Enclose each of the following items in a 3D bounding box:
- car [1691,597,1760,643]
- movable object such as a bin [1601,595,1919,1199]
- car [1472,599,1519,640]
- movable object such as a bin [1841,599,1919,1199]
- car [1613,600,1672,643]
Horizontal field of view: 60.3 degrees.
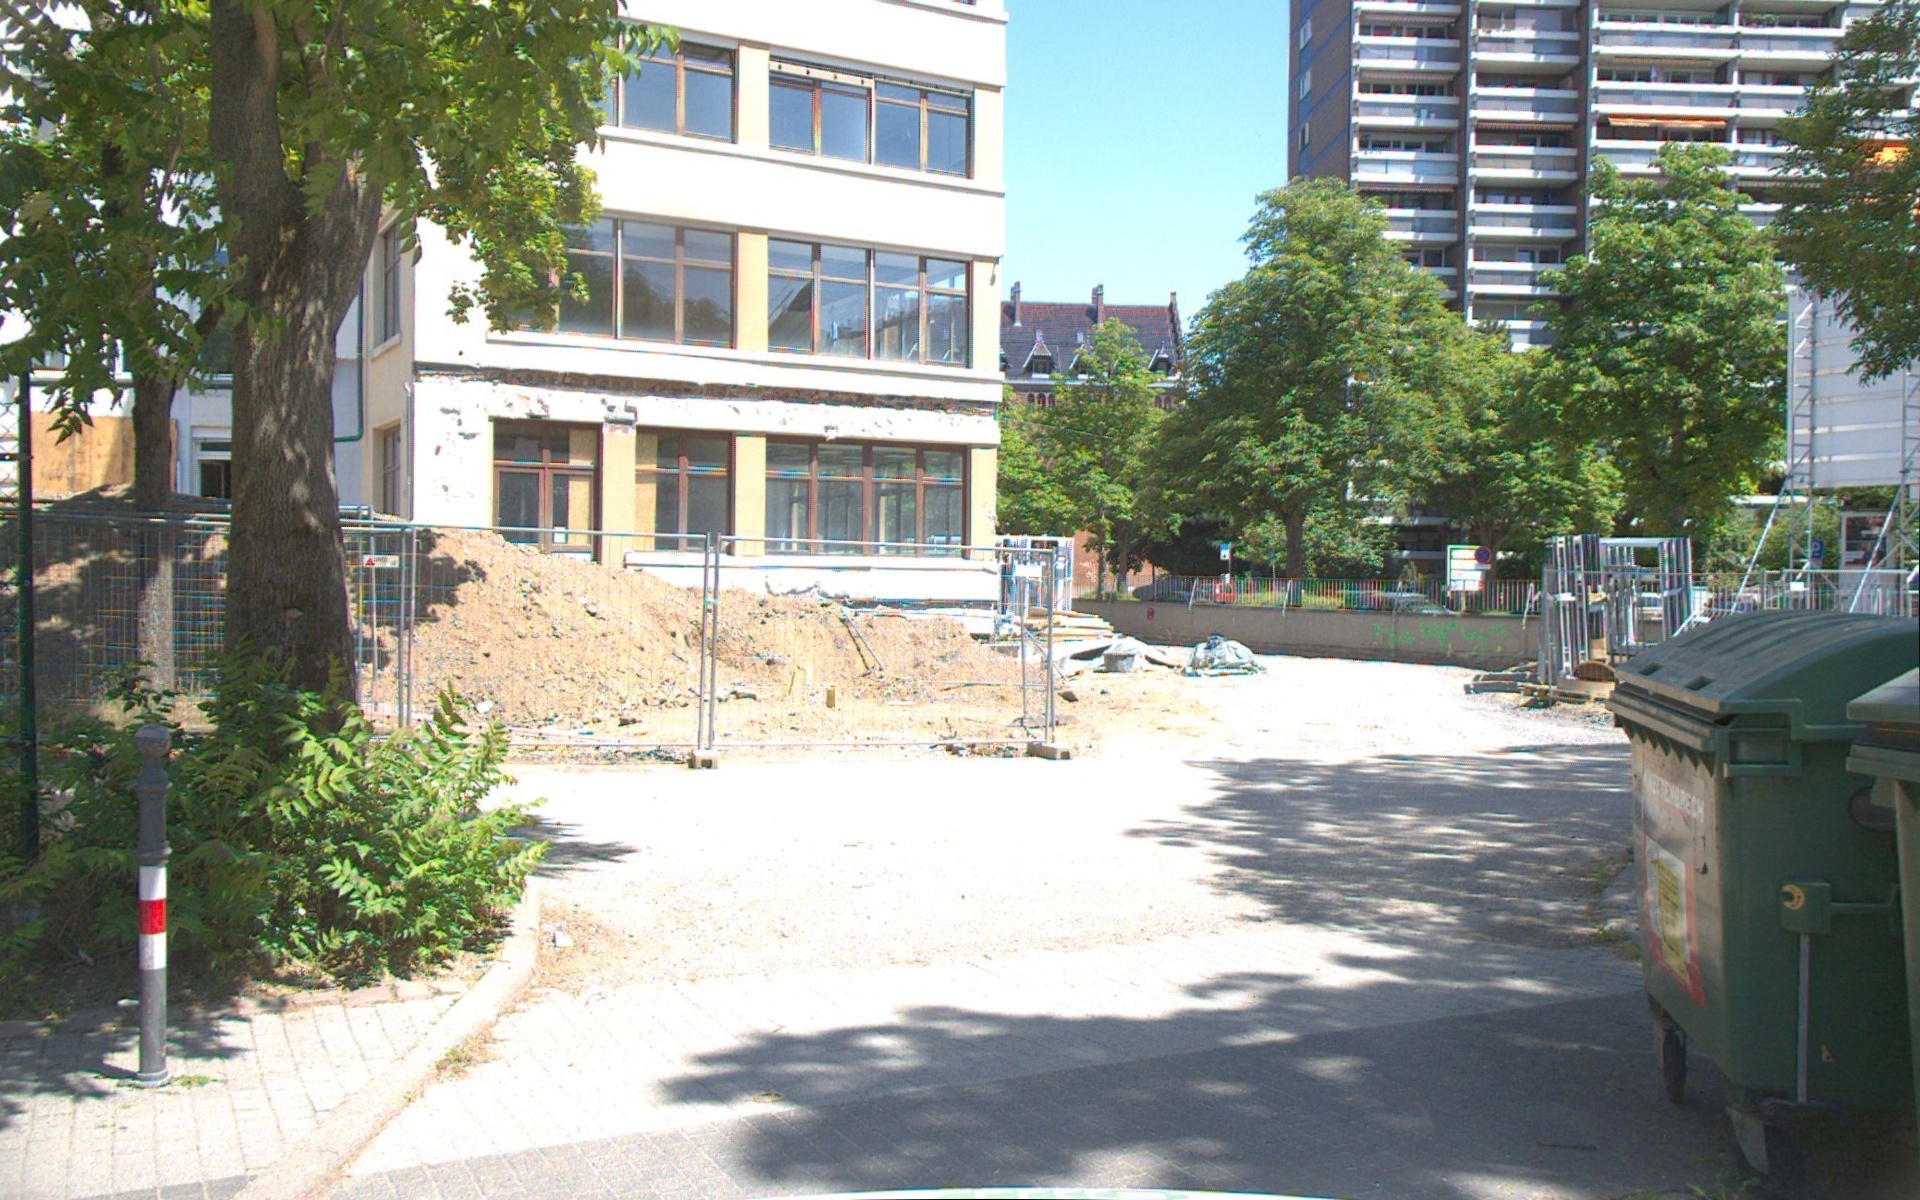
[{"bbox_3d":[24.612,0.612,53.253,1.599,1.411,3.679,1,0,18],"label":"car"},{"bbox_3d":[2.547,0.747,4.623,1.154,1.495,1.334,1,0,10],"label":"movable object such as a bin"},{"bbox_3d":[19.739,0.693,60.994,1.599,1.411,3.679,1,0,18],"label":"car"},{"bbox_3d":[2.602,0.752,3.084,1.156,1.495,1.309,1,0,-7],"label":"movable object such as a bin"},{"bbox_3d":[23.200,0.703,56.321,1.599,1.411,3.679,1,0,18],"label":"car"}]
